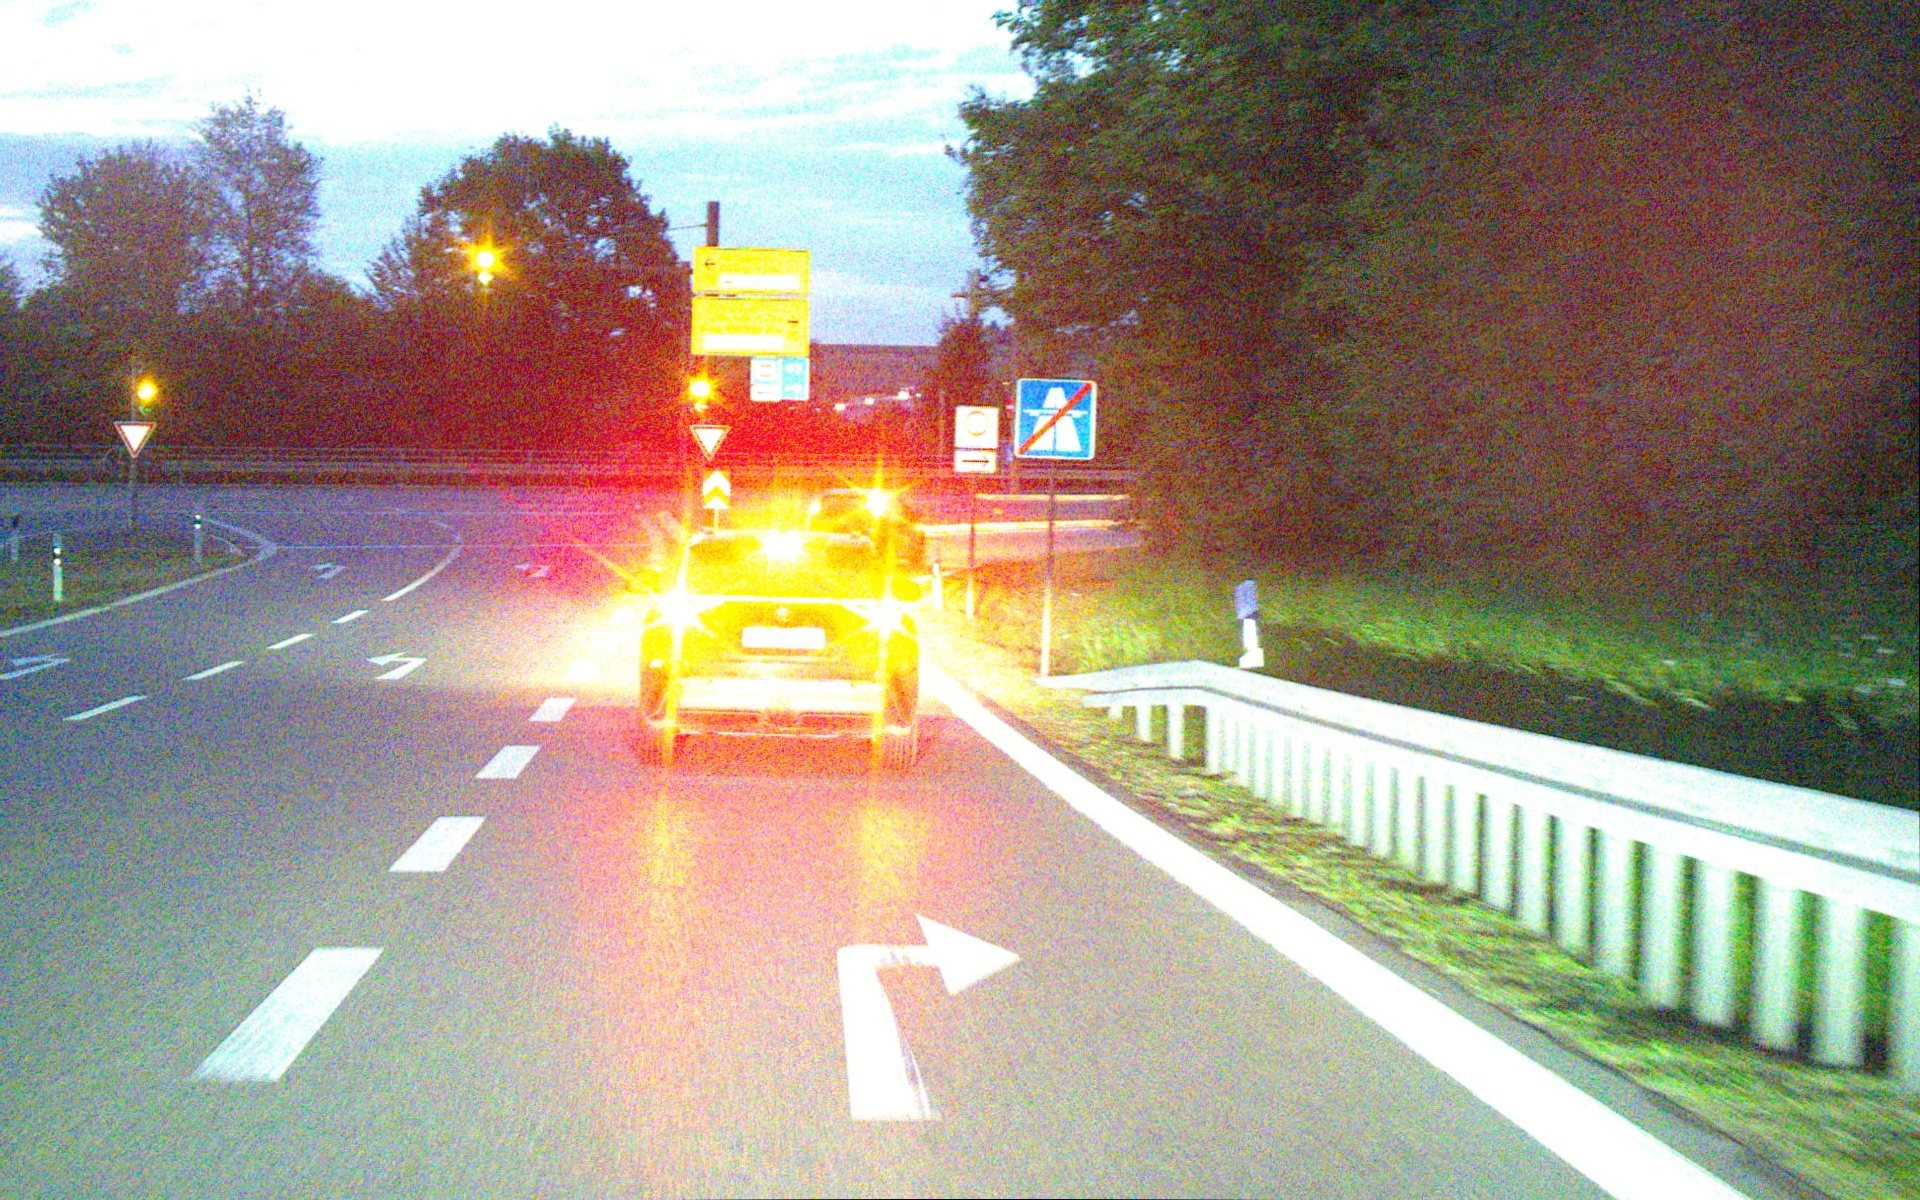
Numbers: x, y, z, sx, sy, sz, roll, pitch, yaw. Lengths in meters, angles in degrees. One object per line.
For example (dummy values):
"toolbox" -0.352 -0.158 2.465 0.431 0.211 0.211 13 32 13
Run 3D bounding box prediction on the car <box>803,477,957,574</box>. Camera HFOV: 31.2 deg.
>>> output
"car" -1.427 -1.336 62.810 1.782 1.648 3.997 1 0 14

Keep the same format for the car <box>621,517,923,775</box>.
"car" -1.394 0.268 24.156 1.900 1.614 4.557 1 1 -5
